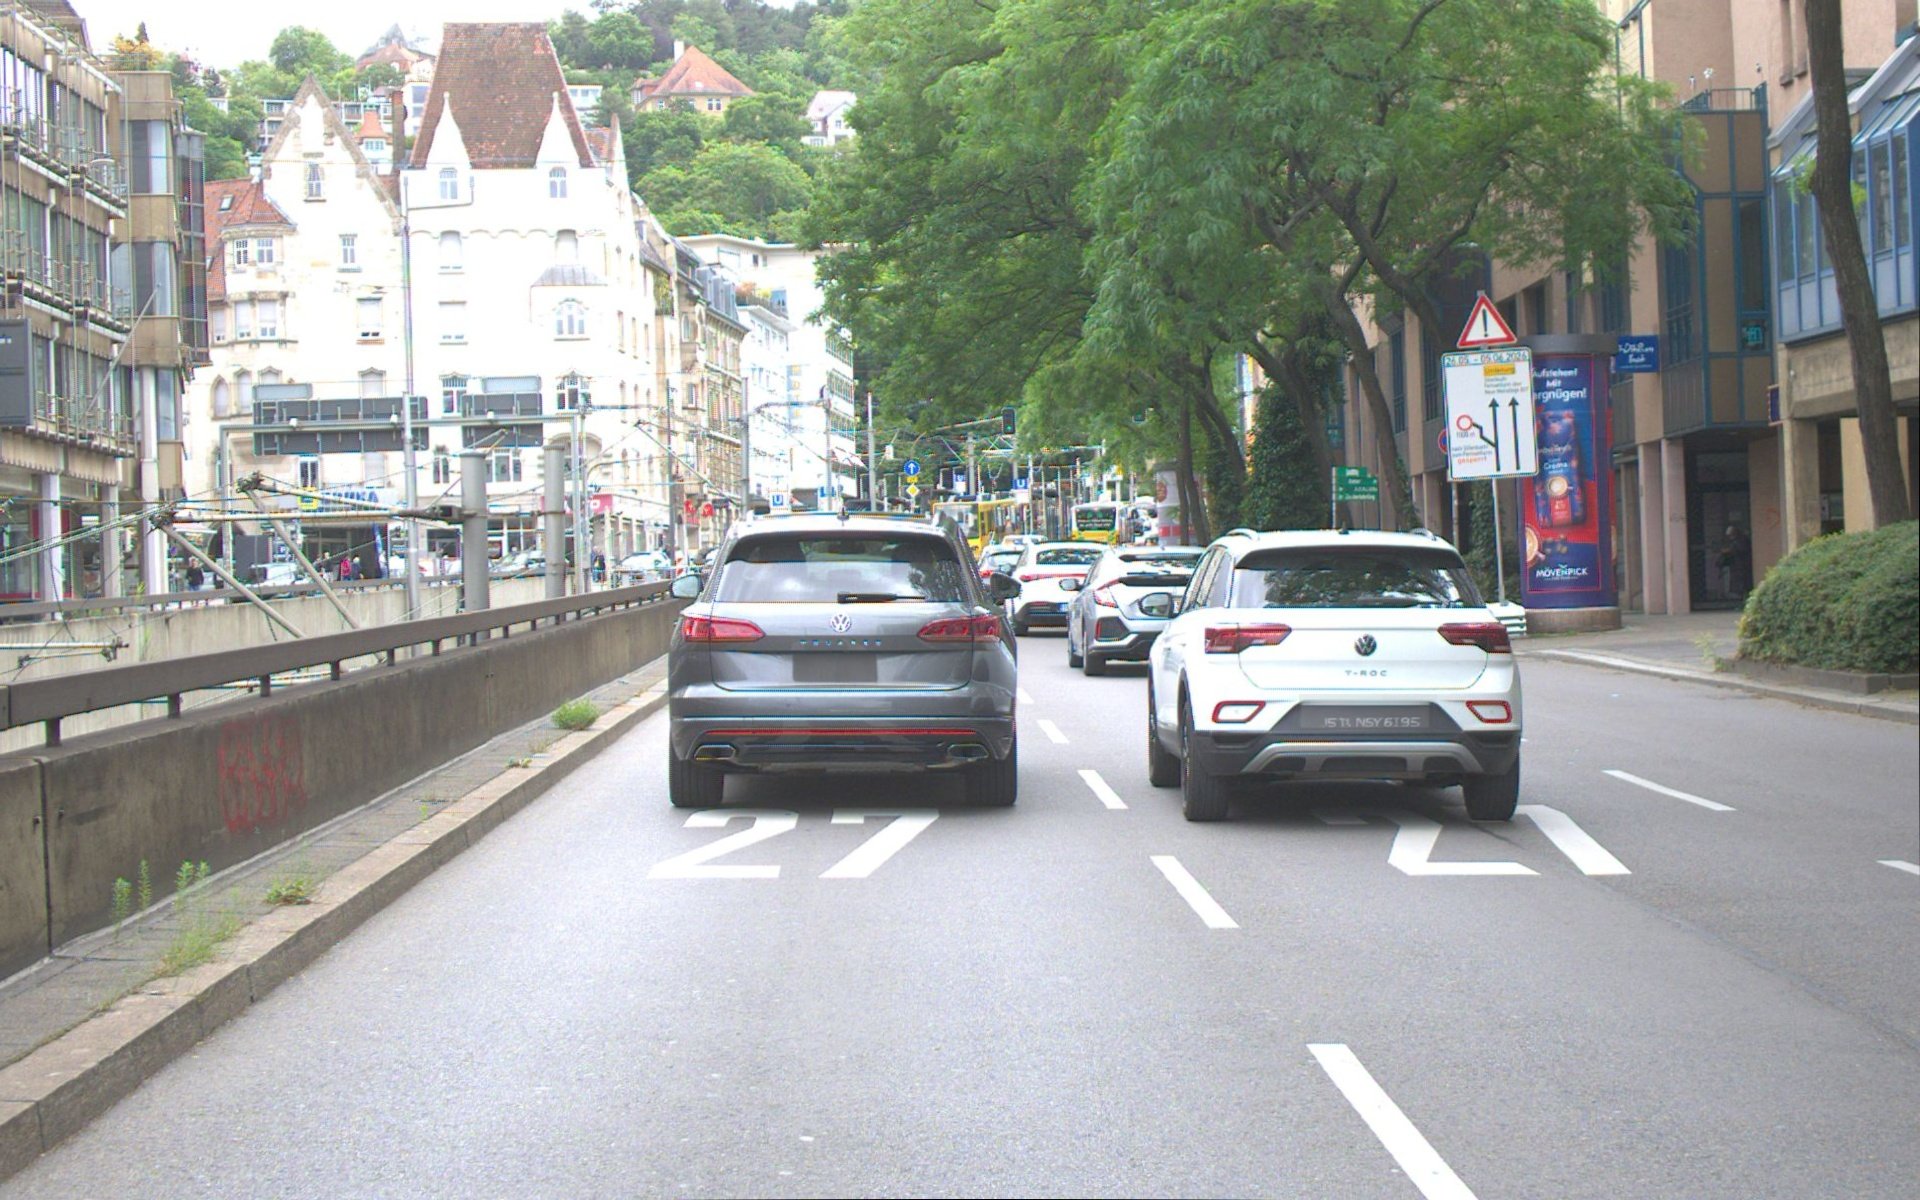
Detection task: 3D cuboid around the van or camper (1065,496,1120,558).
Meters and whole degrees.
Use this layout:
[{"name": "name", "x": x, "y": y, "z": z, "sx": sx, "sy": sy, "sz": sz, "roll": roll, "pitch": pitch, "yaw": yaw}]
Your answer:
[{"name": "van or camper", "x": 7.063, "y": -3.861, "z": 182.654, "sx": 2.628, "sy": 3.167, "sz": 5.802, "roll": -2, "pitch": 1, "yaw": 4}]

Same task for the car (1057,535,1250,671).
[{"name": "car", "x": 2.117, "y": 0.048, "z": 38.656, "sx": 1.833, "sy": 1.427, "sz": 4.147, "roll": -1, "pitch": 0, "yaw": -1}]

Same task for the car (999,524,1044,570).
[{"name": "car", "x": 2.655, "y": -2.303, "z": 149.414, "sx": 1.832, "sy": 1.868, "sz": 4.871, "roll": -3, "pitch": 1, "yaw": 0}]

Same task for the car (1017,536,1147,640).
[{"name": "car", "x": 1.896, "y": -0.206, "z": 54.461, "sx": 1.832, "sy": 1.512, "sz": 3.767, "roll": -3, "pitch": 1, "yaw": 0}]

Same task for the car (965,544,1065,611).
[{"name": "car", "x": 1.199, "y": -0.513, "z": 76.511, "sx": 1.832, "sy": 1.358, "sz": 3.768, "roll": -3, "pitch": 1, "yaw": -4}]

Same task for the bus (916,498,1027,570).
[{"name": "bus", "x": 0.748, "y": -3.491, "z": 180.624, "sx": 3.850, "sy": 3.520, "sz": 17.242, "roll": -2, "pitch": 1, "yaw": 7}]

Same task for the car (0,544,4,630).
[{"name": "car", "x": -20.767, "y": -0.200, "z": 68.974, "sx": 1.993, "sy": 1.761, "sz": 4.281, "roll": -2, "pitch": 1, "yaw": -1}]

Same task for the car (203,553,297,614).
[{"name": "car", "x": -21.655, "y": -0.526, "z": 105.012, "sx": 1.993, "sy": 1.761, "sz": 4.281, "roll": -2, "pitch": 1, "yaw": -1}]

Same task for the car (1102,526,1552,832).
[{"name": "car", "x": 1.939, "y": 0.366, "z": 19.323, "sx": 1.797, "sy": 1.540, "sz": 3.936, "roll": 0, "pitch": 1, "yaw": -5}]

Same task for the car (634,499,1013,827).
[{"name": "car", "x": -0.852, "y": 0.276, "z": 20.392, "sx": 1.970, "sy": 1.690, "sz": 4.225, "roll": -2, "pitch": 2, "yaw": -3}]
